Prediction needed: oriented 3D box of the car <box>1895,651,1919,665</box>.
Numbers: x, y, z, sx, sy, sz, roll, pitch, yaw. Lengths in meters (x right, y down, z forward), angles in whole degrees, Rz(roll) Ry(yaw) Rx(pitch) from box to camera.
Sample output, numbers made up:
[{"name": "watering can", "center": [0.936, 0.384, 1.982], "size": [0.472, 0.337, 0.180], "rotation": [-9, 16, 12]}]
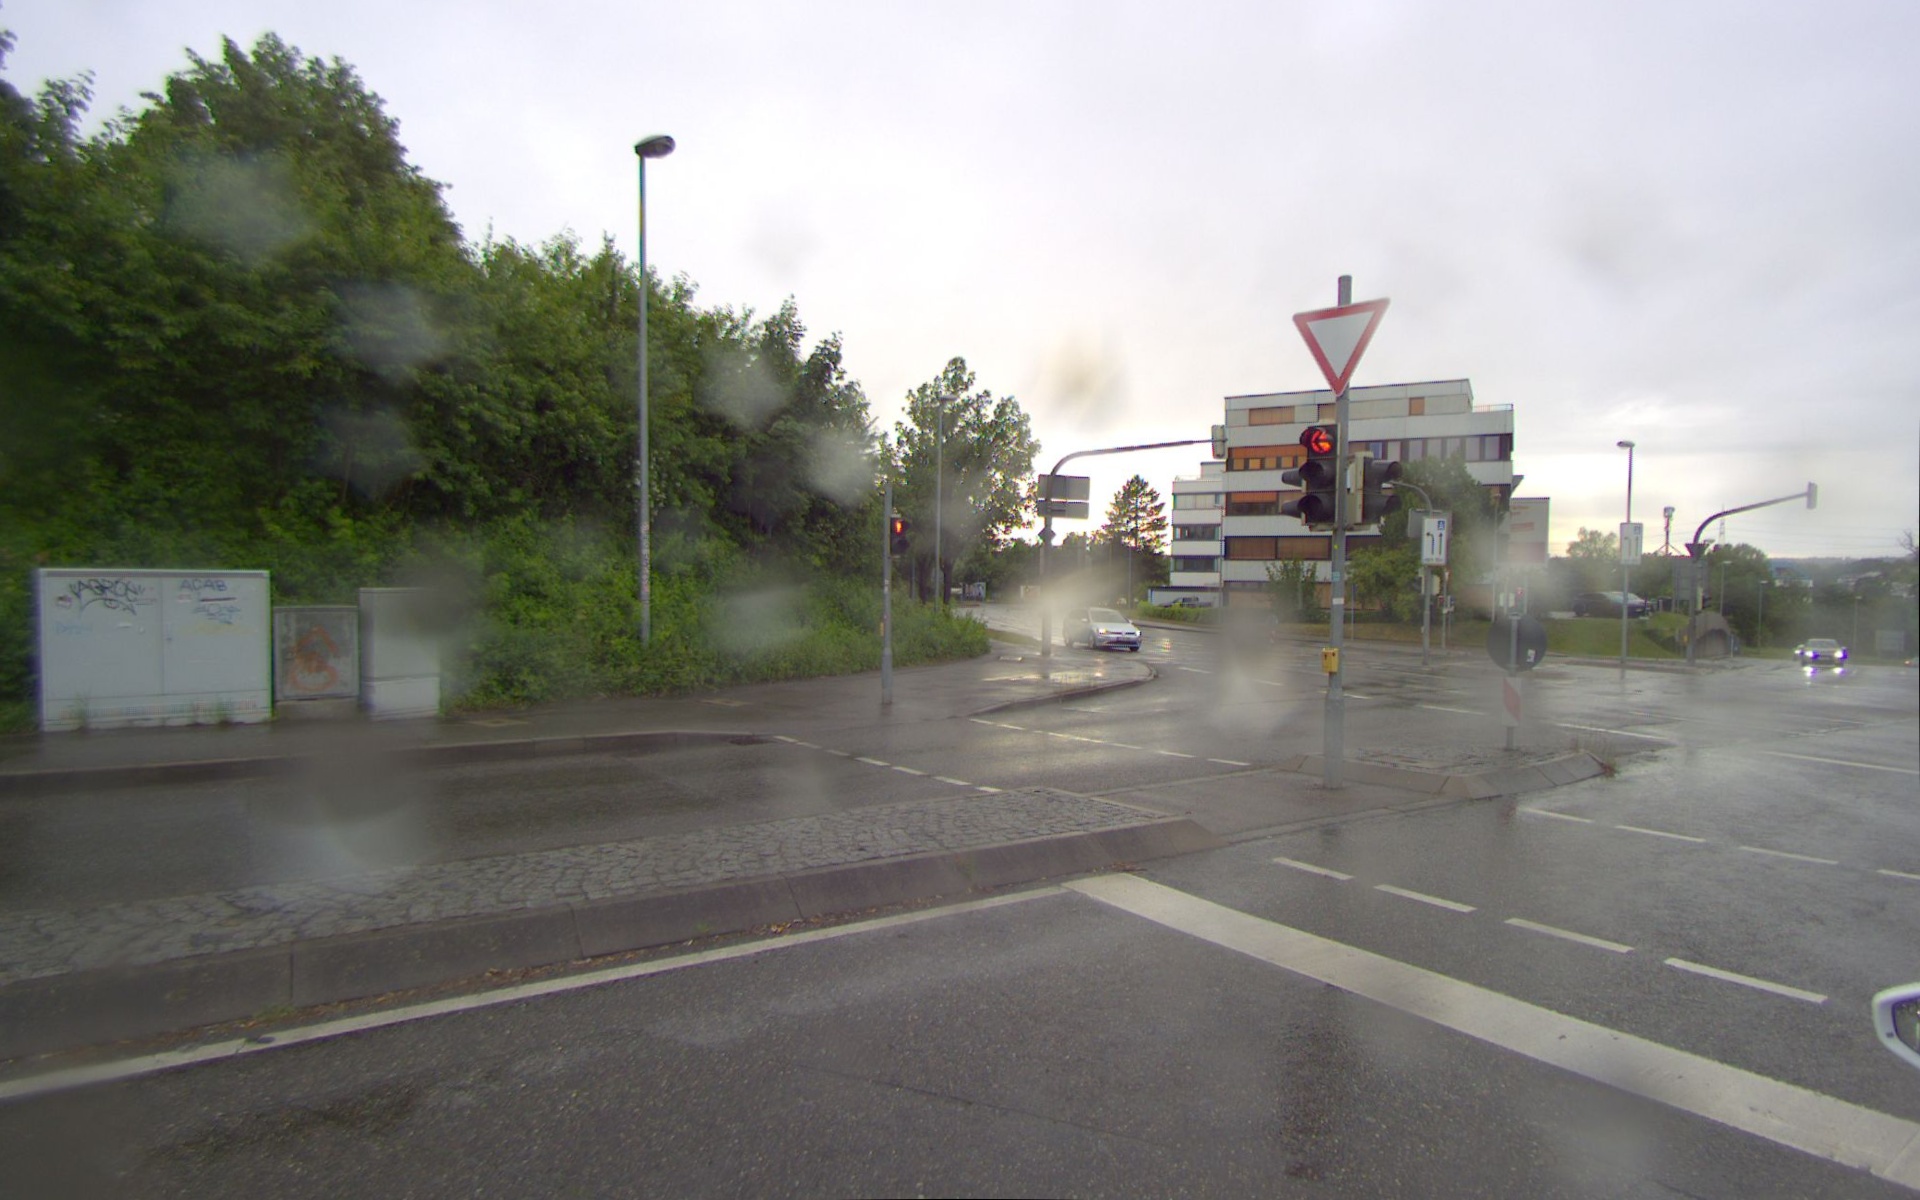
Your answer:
[{"name": "car", "center": [118.109, 7.179, 124.911], "size": [3.960, 1.475, 1.886], "rotation": [1, 1, -35]}]

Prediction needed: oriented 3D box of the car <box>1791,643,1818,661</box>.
[{"name": "car", "center": [76.752, 4.672, 91.234], "size": [1.701, 1.514, 3.979], "rotation": [2, -1, 42]}]

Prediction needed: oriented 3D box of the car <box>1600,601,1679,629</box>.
[{"name": "car", "center": [44.994, 0.981, 66.615], "size": [1.872, 1.607, 3.985], "rotation": [4, 0, -17]}]

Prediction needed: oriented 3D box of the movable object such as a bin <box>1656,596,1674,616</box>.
[{"name": "movable object such as a bin", "center": [55.731, 0.487, 79.385], "size": [1.069, 1.456, 1.443], "rotation": [3, 0, 34]}]

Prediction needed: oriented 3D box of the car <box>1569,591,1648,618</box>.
[{"name": "car", "center": [42.441, 0.294, 65.807], "size": [1.874, 1.607, 3.981], "rotation": [4, 0, -21]}]

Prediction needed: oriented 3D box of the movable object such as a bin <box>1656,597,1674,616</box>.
[{"name": "movable object such as a bin", "center": [56.541, 0.516, 80.610], "size": [1.069, 1.456, 1.443], "rotation": [3, 0, 34]}]

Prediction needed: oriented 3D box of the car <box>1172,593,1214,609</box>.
[{"name": "car", "center": [22.306, 0.130, 96.175], "size": [3.686, 1.418, 2.000], "rotation": [1, 1, 19]}]

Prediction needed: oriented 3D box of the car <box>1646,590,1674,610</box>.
[{"name": "car", "center": [61.124, -0.013, 87.764], "size": [1.802, 1.461, 3.990], "rotation": [3, -1, 33]}]

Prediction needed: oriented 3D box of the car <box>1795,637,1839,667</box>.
[{"name": "car", "center": [46.696, 2.804, 54.778], "size": [1.641, 1.514, 3.984], "rotation": [2, -1, 38]}]

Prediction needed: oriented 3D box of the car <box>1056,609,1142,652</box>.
[{"name": "car", "center": [4.995, 1.069, 36.616], "size": [1.731, 1.381, 4.523], "rotation": [2, 0, -11]}]
